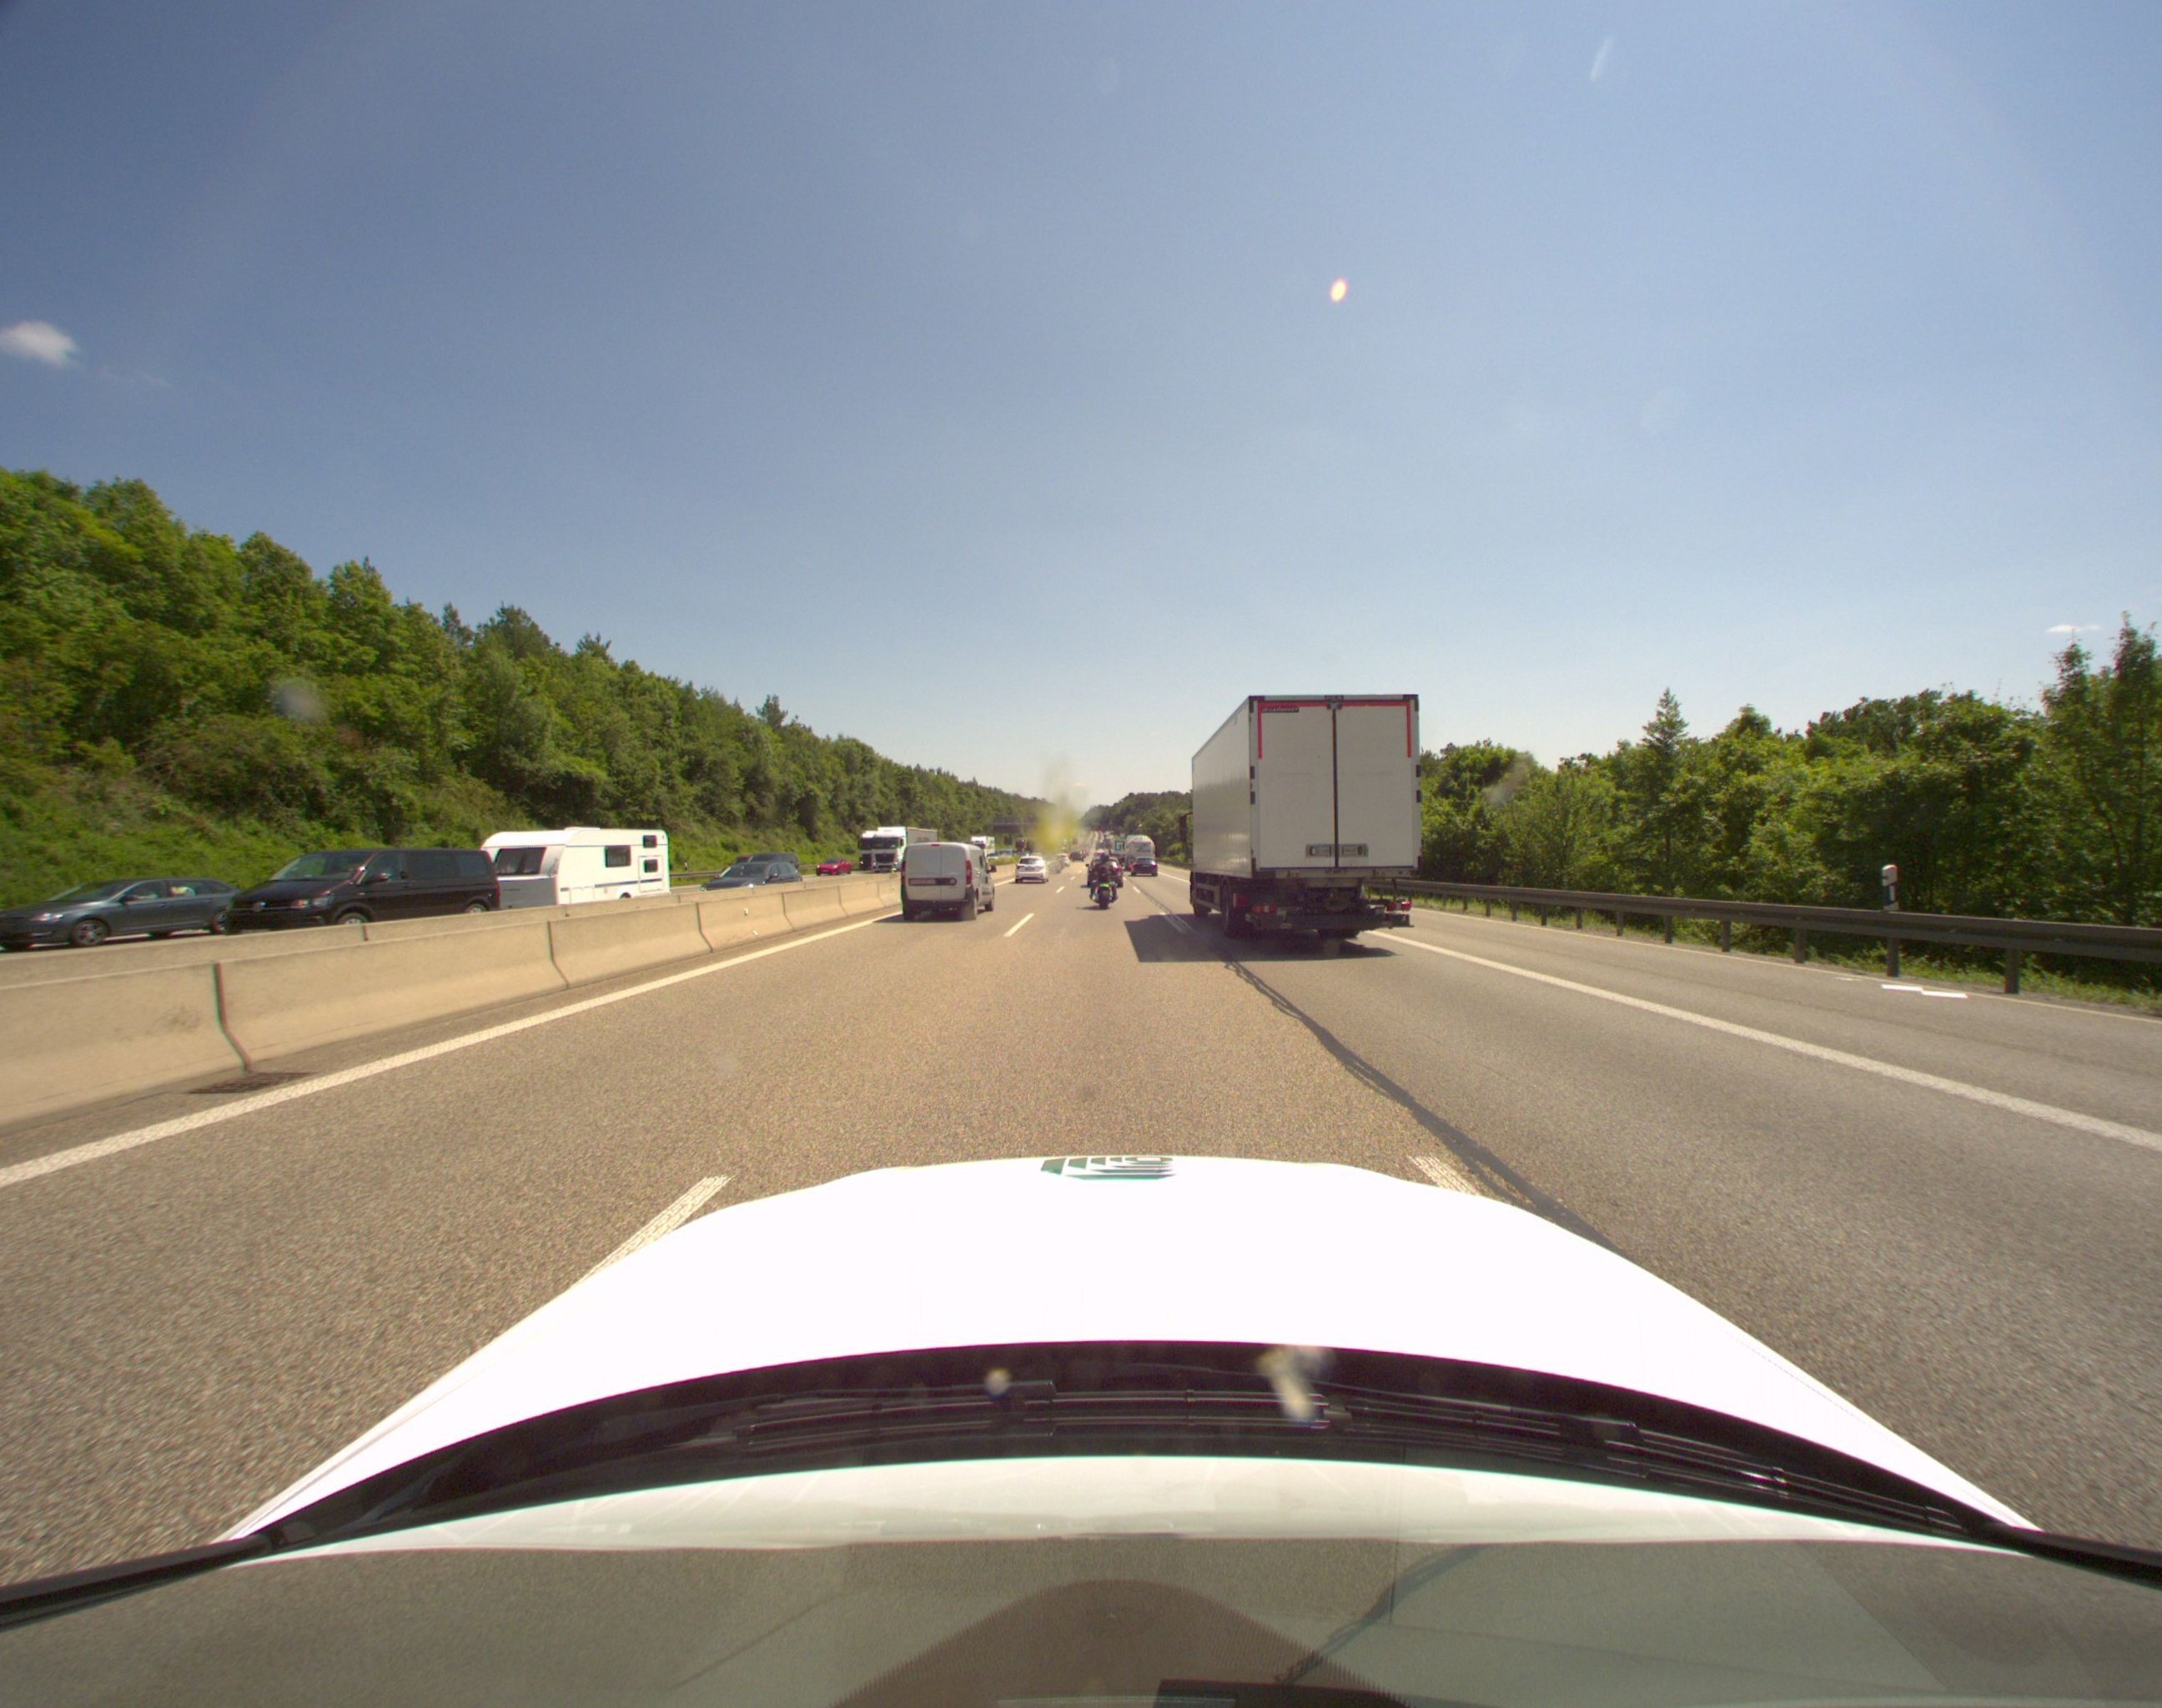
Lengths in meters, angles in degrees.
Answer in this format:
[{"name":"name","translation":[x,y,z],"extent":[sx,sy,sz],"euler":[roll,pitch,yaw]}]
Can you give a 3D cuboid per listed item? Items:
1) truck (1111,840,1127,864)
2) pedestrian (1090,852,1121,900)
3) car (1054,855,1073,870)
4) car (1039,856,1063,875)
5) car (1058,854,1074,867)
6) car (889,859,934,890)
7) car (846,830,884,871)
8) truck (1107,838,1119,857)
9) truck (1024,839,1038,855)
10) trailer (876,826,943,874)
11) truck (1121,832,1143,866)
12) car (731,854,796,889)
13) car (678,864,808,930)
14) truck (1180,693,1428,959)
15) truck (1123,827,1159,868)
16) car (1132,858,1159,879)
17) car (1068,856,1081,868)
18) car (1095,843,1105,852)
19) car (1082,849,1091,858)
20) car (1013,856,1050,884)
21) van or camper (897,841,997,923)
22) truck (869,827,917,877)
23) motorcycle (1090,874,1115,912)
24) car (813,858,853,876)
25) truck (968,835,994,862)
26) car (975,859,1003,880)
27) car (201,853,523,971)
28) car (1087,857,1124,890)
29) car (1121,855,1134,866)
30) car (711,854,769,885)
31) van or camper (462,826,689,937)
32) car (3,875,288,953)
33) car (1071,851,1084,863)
[{"name":"truck","translation":[7.564,-0.413,162.922],"extent":[3.022,4.542,9.985],"euler":[1,0,1]},{"name":"pedestrian","translation":[0.721,0.637,23.979],"extent":[0.846,1.362,0.962],"euler":[-2,0,2]},{"name":"car","translation":[-1.747,0.849,81.852],"extent":[1.693,1.478,4.001],"euler":[0,0,1]},{"name":"car","translation":[-2.424,0.928,66.251],"extent":[1.693,1.478,4.001],"euler":[0,0,1]},{"name":"car","translation":[-1.737,0.721,94.116],"extent":[1.693,1.478,4.001],"euler":[0,0,1]},{"name":"car","translation":[-10.324,1.210,49.913],"extent":[1.765,1.772,4.185],"euler":[-1,0,2]},{"name":"car","translation":[-21.454,-0.354,81.138],"extent":[2.440,3.874,4.566],"euler":[-2,0,1]},{"name":"truck","translation":[8.726,-1.735,224.061],"extent":[3.022,5.139,9.985],"euler":[1,0,1]},{"name":"truck","translation":[-13.536,-1.890,221.742],"extent":[2.896,3.974,7.770],"euler":[-2,-1,1]},{"name":"trailer","translation":[-16.414,-0.235,79.345],"extent":[2.824,4.165,14.743],"euler":[-2,-1,2]},{"name":"truck","translation":[5.573,-0.520,89.132],"extent":[1.988,3.522,4.749],"euler":[-2,-1,-1]},{"name":"car","translation":[-17.666,0.950,45.536],"extent":[1.729,1.809,4.862],"euler":[-1,0,-1]},{"name":"car","translation":[-10.344,1.245,25.356],"extent":[1.940,1.802,4.695],"euler":[-2,-1,2]},{"name":"truck","translation":[3.934,-0.401,17.097],"extent":[2.678,3.876,9.784],"euler":[-2,0,2]},{"name":"truck","translation":[5.802,-0.547,80.158],"extent":[2.977,3.671,9.290],"euler":[-2,-1,1]},{"name":"car","translation":[4.837,1.090,61.734],"extent":[1.822,1.470,4.001],"euler":[1,0,1]},{"name":"car","translation":[-1.134,1.392,142.488],"extent":[1.986,2.014,4.002],"euler":[-2,-1,2]},{"name":"car","translation":[5.295,-1.790,226.765],"extent":[2.495,2.587,5.017],"euler":[0,0,1]},{"name":"car","translation":[1.368,-0.125,187.466],"extent":[1.922,2.014,4.002],"euler":[-2,-1,2]},{"name":"car","translation":[-2.726,0.881,45.742],"extent":[1.693,1.478,4.001],"euler":[0,0,1]},{"name":"van or camper","translation":[-3.334,0.682,21.014],"extent":[1.790,1.892,4.160],"euler":[1,-1,1]},{"name":"truck","translation":[-16.570,-0.140,72.198],"extent":[2.830,4.214,5.661],"euler":[-1,0,1]},{"name":"motorcycle","translation":[0.649,1.113,23.963],"extent":[0.688,1.015,2.123],"euler":[1,0,3]},{"name":"car","translation":[-20.301,1.045,66.887],"extent":[1.756,1.370,4.503],"euler":[-1,0,2]},{"name":"truck","translation":[-16.128,-0.860,131.803],"extent":[2.791,4.165,7.605],"euler":[-1,-1,3]},{"name":"car","translation":[-8.388,1.383,74.836],"extent":[1.986,1.794,4.001],"euler":[-2,-1,1]},{"name":"car","translation":[-14.511,1.058,17.010],"extent":[1.986,2.014,5.194],"euler":[-2,-1,2]},{"name":"car","translation":[1.284,0.933,40.674],"extent":[1.525,1.510,4.006],"euler":[-2,0,6]},{"name":"car","translation":[6.476,0.920,114.178],"extent":[1.780,1.555,3.804],"euler":[0,0,1]},{"name":"car","translation":[-21.064,0.957,50.539],"extent":[1.670,1.751,4.376],"euler":[-2,-1,0]},{"name":"van or camper","translation":[-14.452,0.710,24.028],"extent":[2.222,2.761,6.839],"euler":[-1,0,2]},{"name":"car","translation":[-21.442,1.293,18.990],"extent":[1.592,1.485,4.296],"euler":[-1,0,2]},{"name":"car","translation":[-0.539,0.422,127.005],"extent":[1.873,1.859,4.002],"euler":[1,0,2]}]
